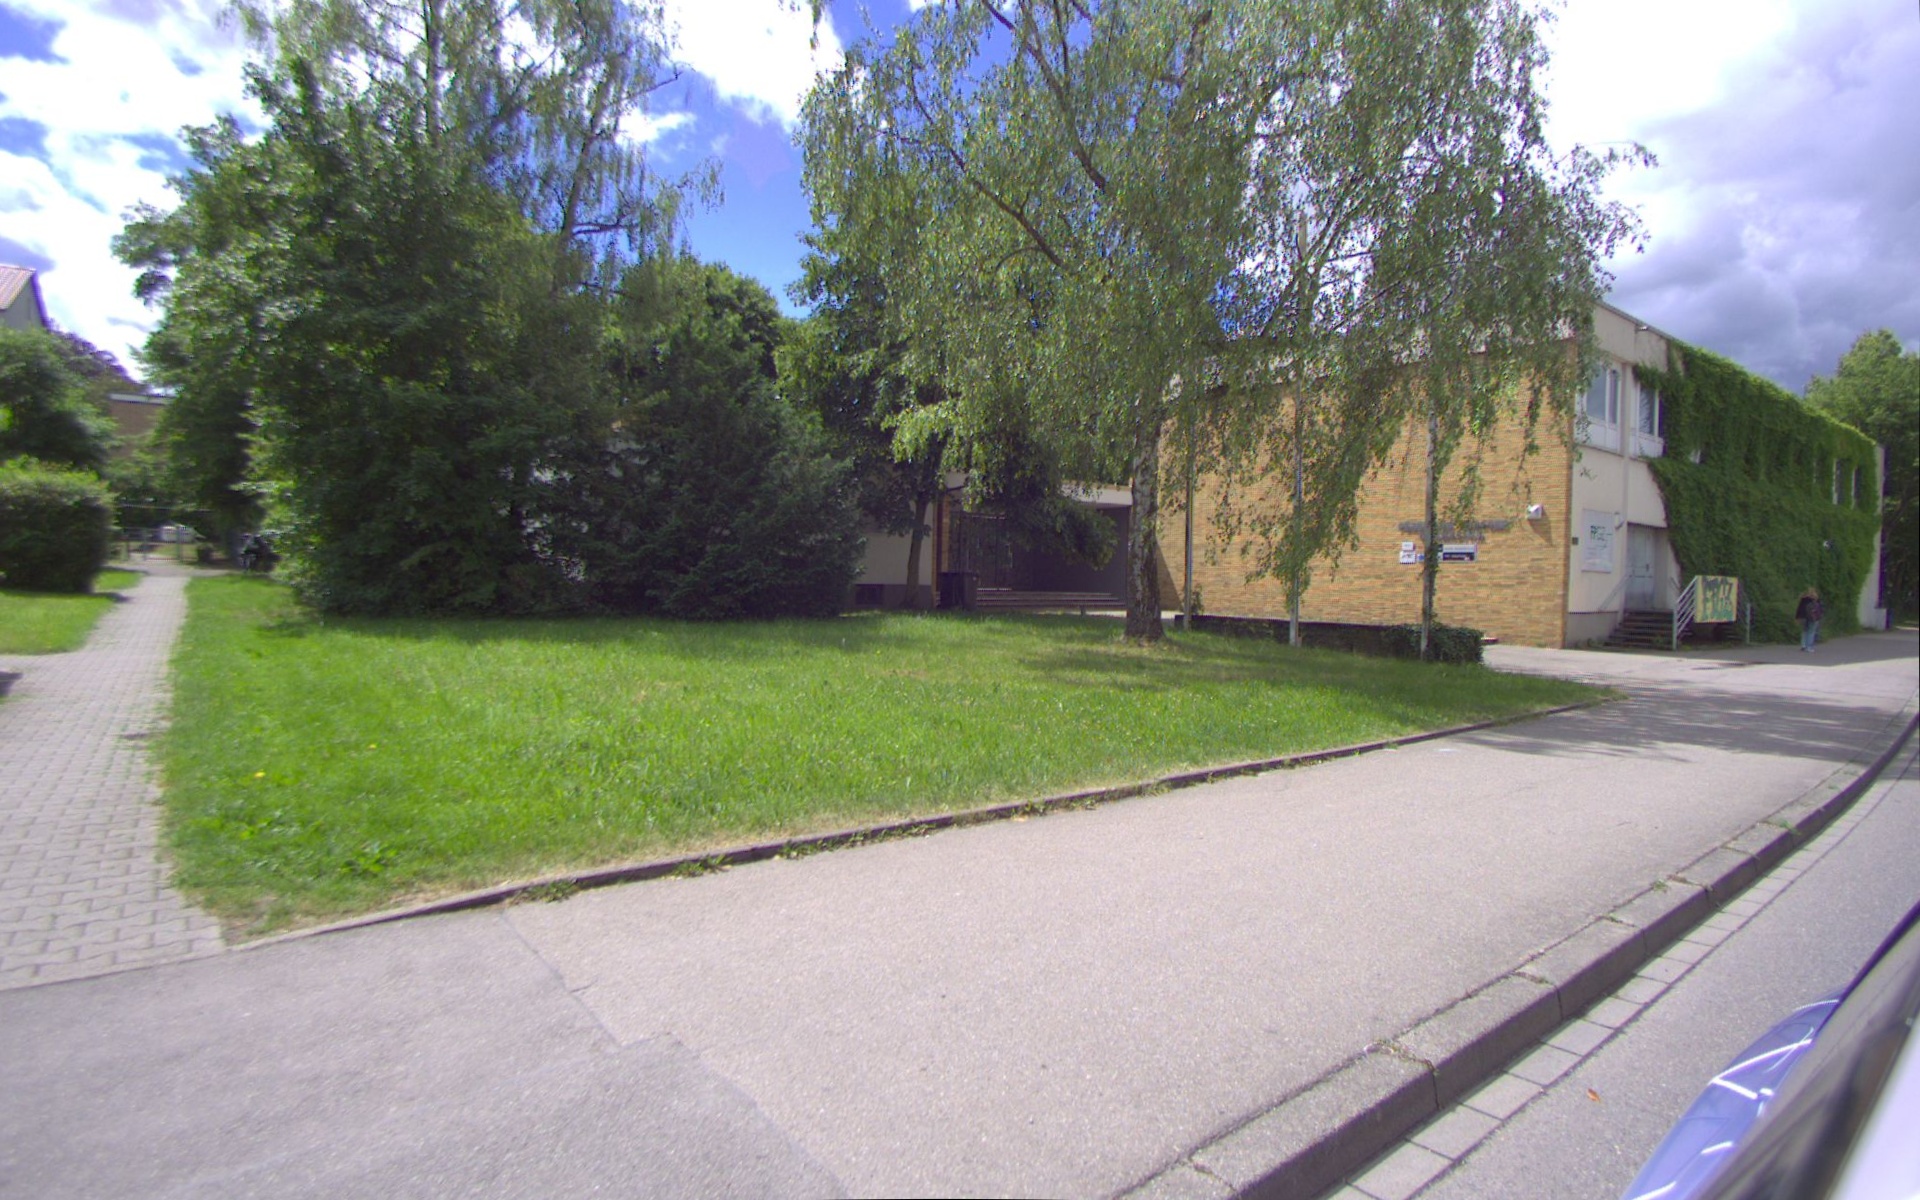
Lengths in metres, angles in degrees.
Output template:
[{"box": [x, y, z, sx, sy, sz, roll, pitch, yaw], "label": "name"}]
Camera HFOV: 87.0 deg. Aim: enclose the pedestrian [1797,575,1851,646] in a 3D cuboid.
[{"box": [22.852, 0.269, 26.774, 0.801, 1.792, 0.812, 0, 4, -34], "label": "pedestrian"}]
